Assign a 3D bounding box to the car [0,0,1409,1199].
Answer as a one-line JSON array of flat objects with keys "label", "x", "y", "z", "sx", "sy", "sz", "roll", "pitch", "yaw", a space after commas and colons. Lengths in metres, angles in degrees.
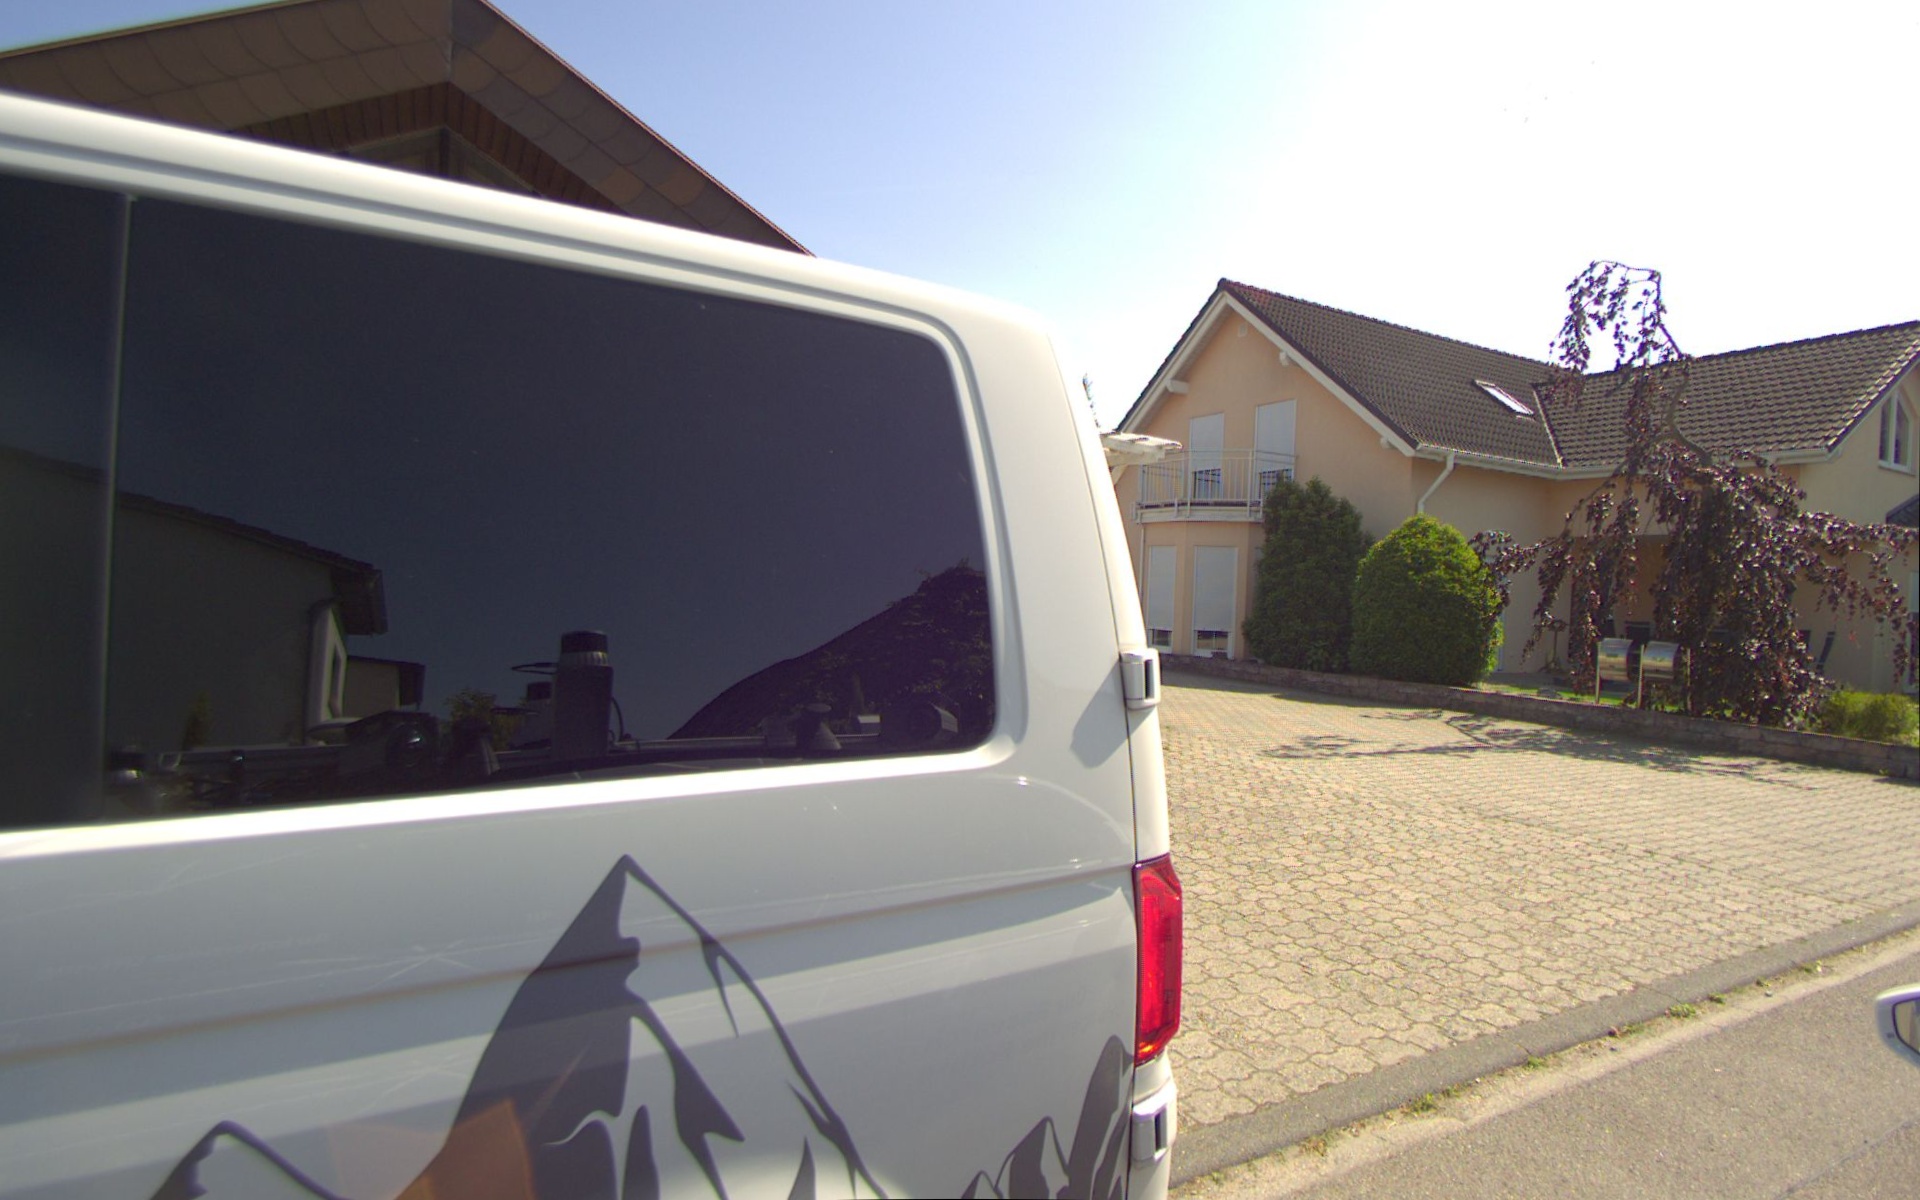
[{"label": "car", "x": -1.979, "y": 0.376, "z": 1.125, "sx": 4.835, "sy": 2.040, "sz": 1.921, "roll": 2, "pitch": 1, "yaw": -28}]
